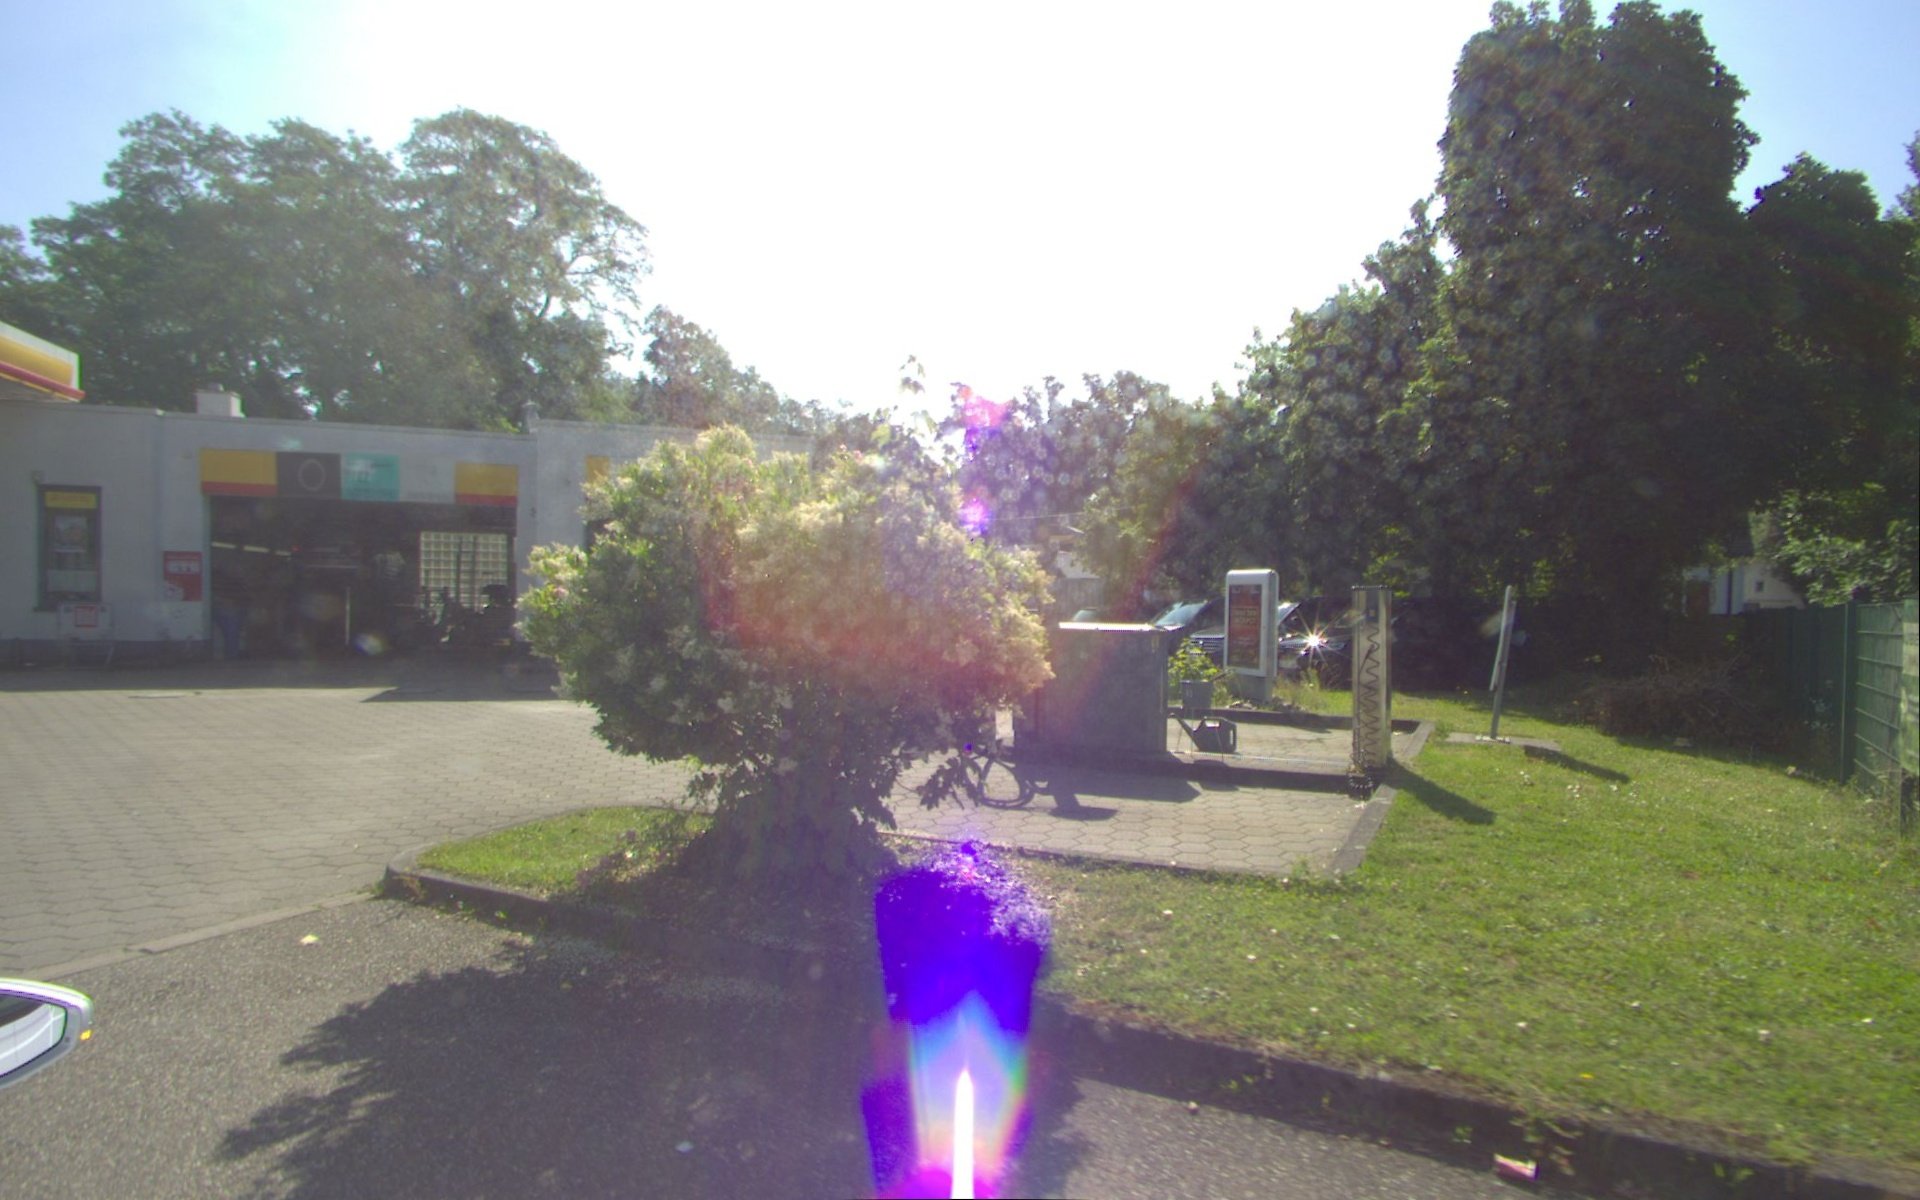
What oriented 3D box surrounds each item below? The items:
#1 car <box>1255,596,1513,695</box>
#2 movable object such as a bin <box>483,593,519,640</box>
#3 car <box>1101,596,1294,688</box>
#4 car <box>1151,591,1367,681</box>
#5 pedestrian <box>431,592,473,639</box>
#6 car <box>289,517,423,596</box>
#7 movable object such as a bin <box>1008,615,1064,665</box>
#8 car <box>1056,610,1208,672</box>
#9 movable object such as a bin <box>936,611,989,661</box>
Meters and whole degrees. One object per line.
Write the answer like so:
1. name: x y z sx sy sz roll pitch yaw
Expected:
1. car: 7.109 0.735 16.837 3.873 1.531 1.679 1 0 -20
2. movable object such as a bin: -12.281 0.453 26.814 0.785 1.252 0.544 0 -1 -16
3. car: 5.285 0.874 22.326 3.872 1.817 1.679 -2 1 -20
4. car: 5.911 0.700 19.845 3.873 1.650 1.680 1 0 -20
5. pedestrian: -13.222 0.414 26.096 0.851 1.213 0.741 0 -1 -19
6. car: -13.925 -0.929 23.331 1.622 1.505 3.996 0 -2 -15
7. movable object such as a bin: 2.063 1.078 27.191 1.218 1.307 0.861 1 0 35
8. car: 4.404 1.030 25.813 3.448 1.458 1.680 1 2 -17
9. movable object such as a bin: 0.075 1.002 28.279 1.215 1.342 0.846 1 0 26
